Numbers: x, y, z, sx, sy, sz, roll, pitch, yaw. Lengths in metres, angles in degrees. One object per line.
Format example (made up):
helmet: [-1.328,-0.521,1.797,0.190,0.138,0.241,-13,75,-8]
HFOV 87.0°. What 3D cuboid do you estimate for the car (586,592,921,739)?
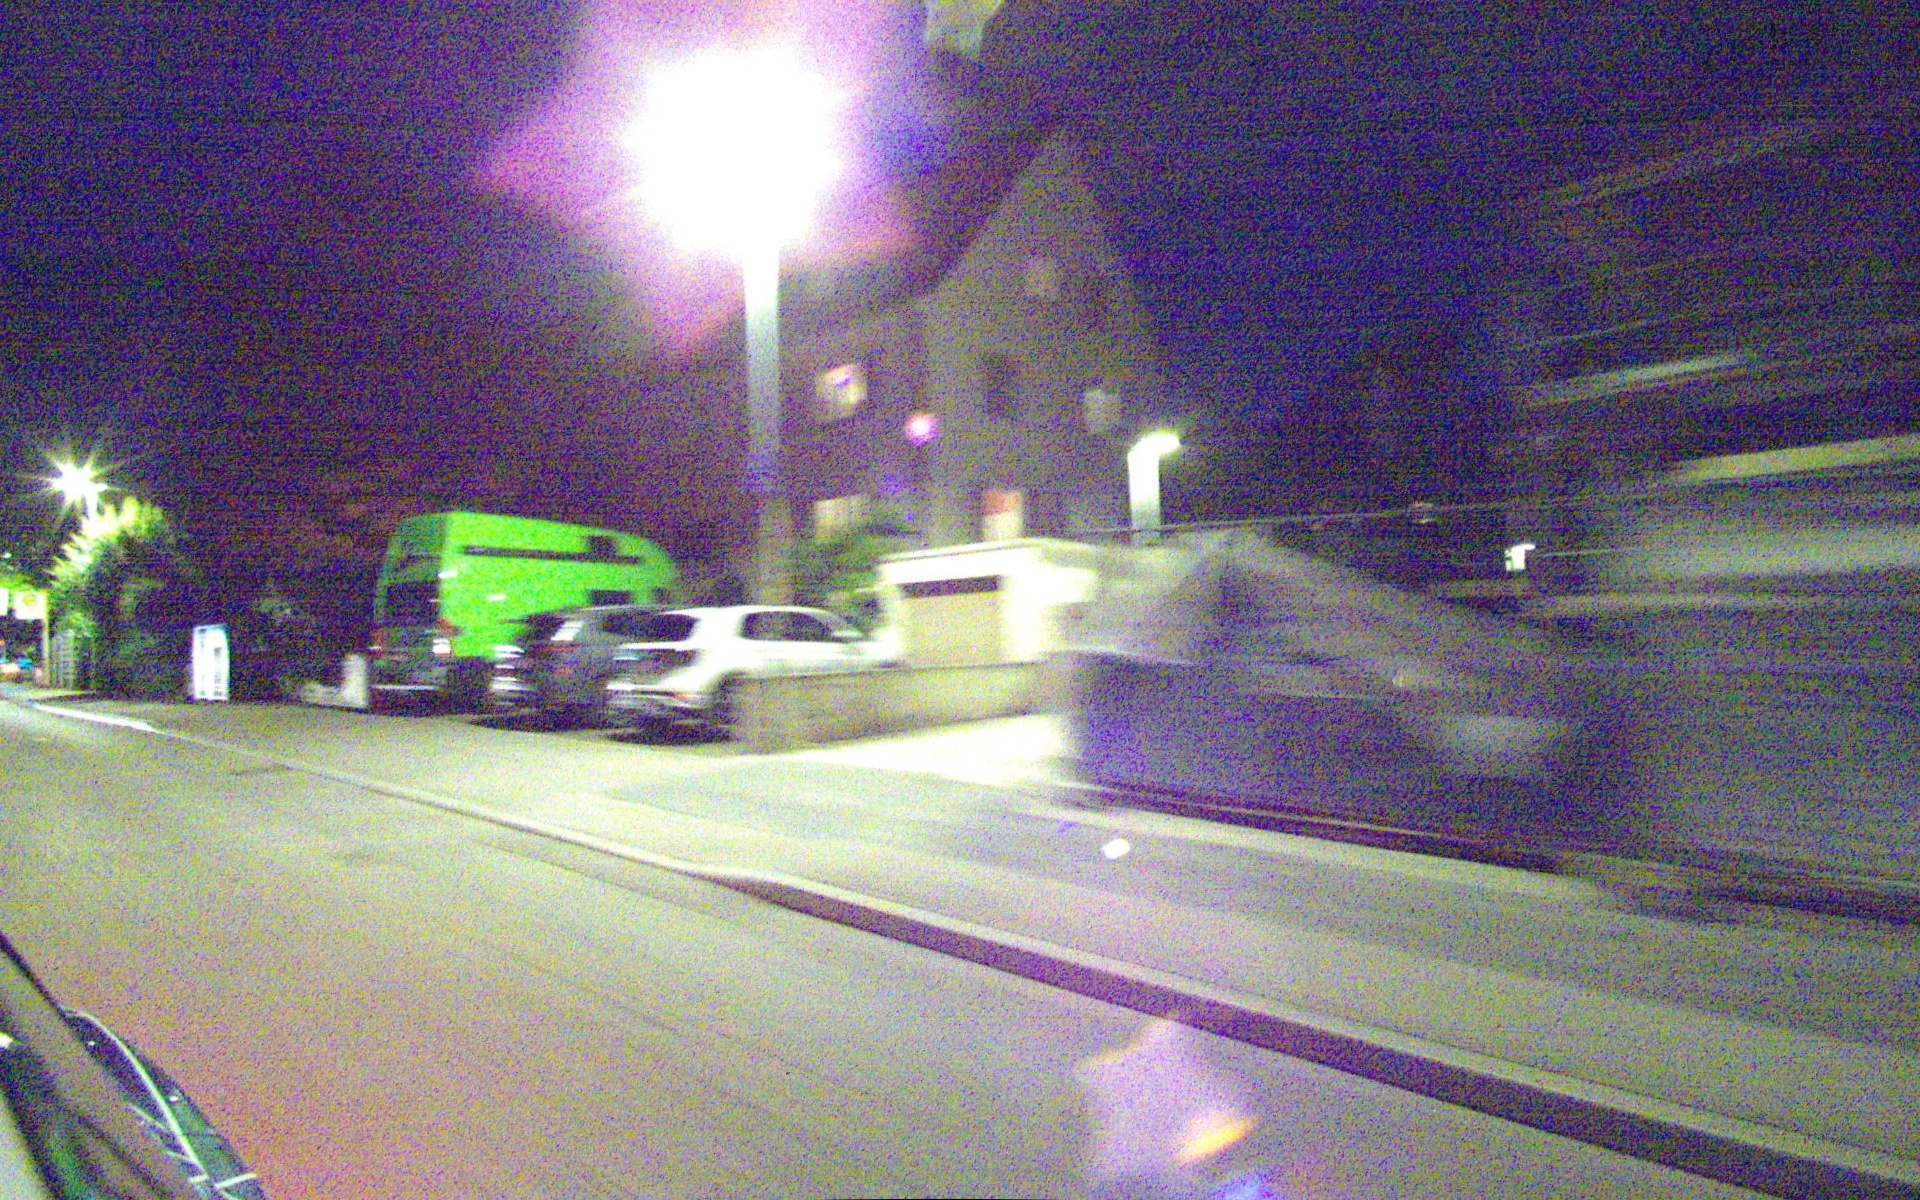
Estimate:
car: [-2.504,0.742,12.900,1.926,1.567,3.772,-4,-2,40]

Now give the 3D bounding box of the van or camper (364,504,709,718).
van or camper: [-7.099,0.146,17.669,2.125,3.134,5.359,0,0,31]

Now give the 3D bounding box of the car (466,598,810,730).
car: [-4.553,0.819,14.799,2.064,1.625,4.370,-1,-1,42]

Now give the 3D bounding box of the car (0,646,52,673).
car: [-58.473,3.661,62.406,1.703,1.440,4.300,-2,0,-11]
